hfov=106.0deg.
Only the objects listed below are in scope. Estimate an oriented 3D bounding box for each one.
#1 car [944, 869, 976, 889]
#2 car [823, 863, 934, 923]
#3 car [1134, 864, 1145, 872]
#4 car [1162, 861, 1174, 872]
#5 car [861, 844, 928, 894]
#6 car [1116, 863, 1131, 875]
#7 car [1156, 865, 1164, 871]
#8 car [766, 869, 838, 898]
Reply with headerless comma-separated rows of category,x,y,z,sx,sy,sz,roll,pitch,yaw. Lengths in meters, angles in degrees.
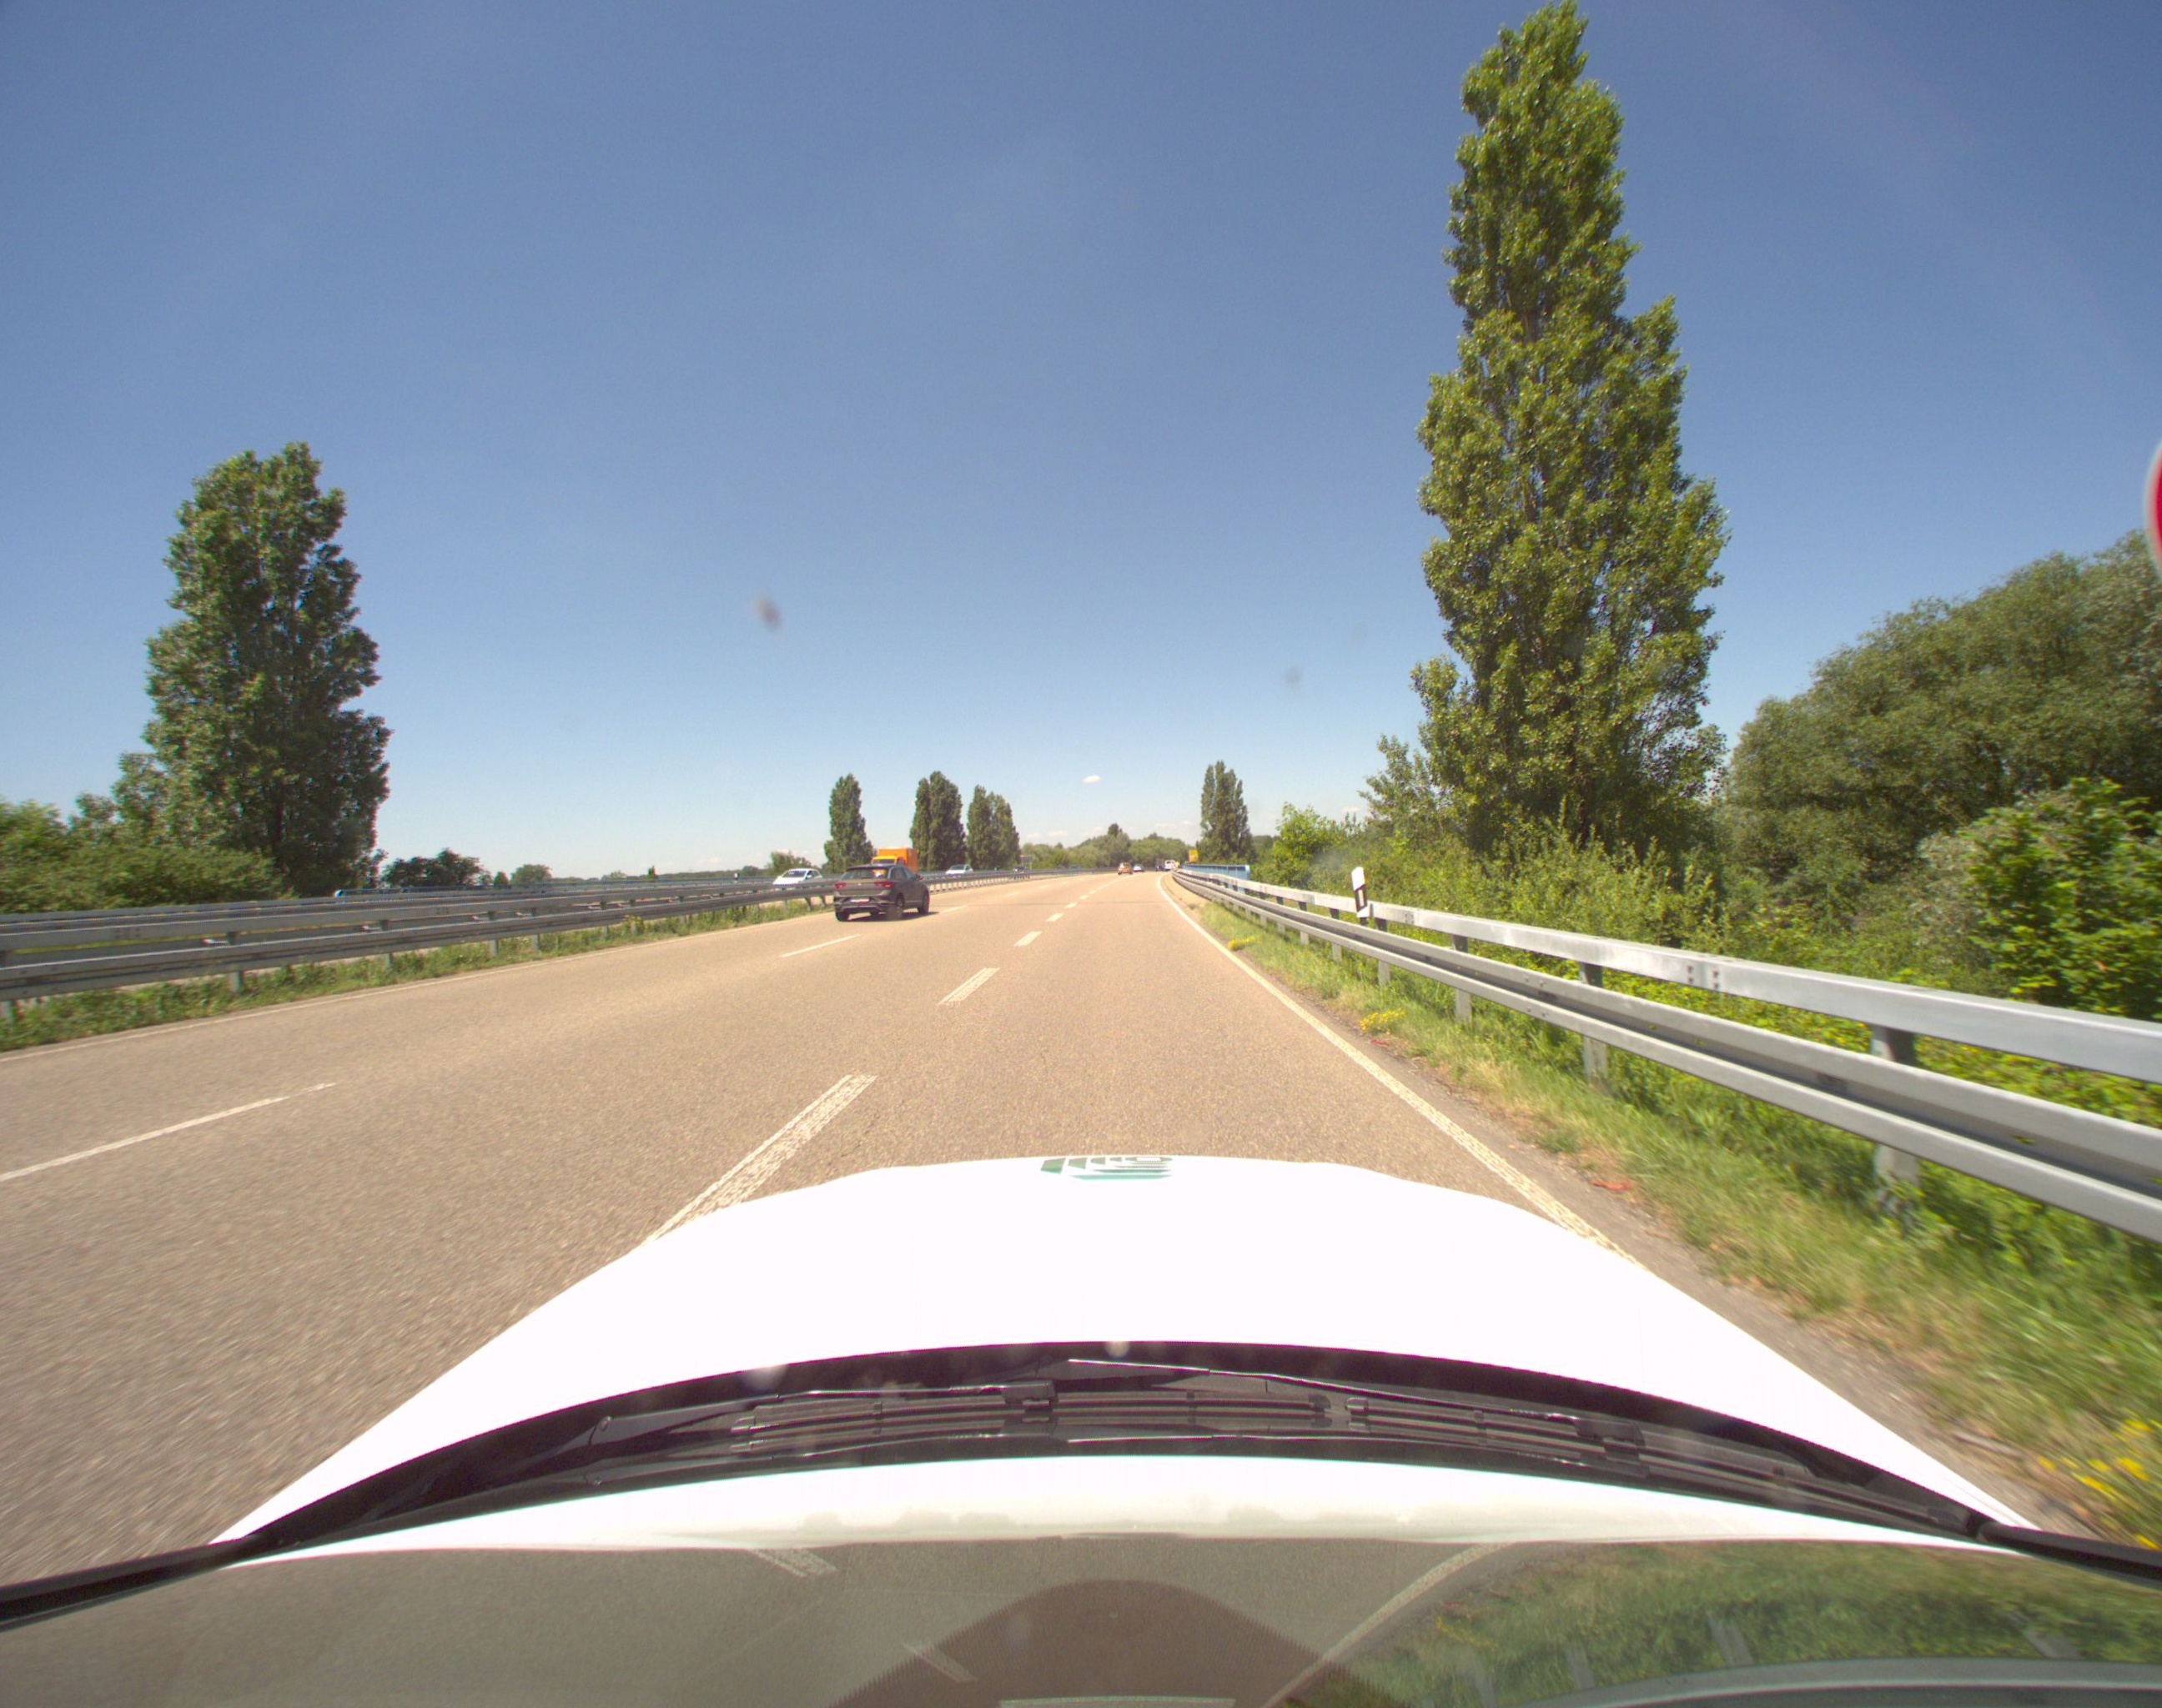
car,-11.675,2.405,78.656,1.843,1.818,4.802,-2,-2,6
car,-5.735,1.061,23.703,1.833,1.530,4.474,-1,0,4
car,11.336,2.647,158.068,1.831,1.451,4.009,-1,0,8
car,15.380,2.128,143.411,1.830,1.895,4.010,-1,0,9
car,-13.521,1.068,59.528,2.292,3.292,7.043,-2,-1,8
car,5.504,1.973,105.234,1.834,1.464,4.002,-1,0,2
car,19.494,3.465,200.638,1.933,1.464,4.008,-1,0,7
car,-15.432,1.609,45.296,1.843,1.432,4.803,-2,-1,6
